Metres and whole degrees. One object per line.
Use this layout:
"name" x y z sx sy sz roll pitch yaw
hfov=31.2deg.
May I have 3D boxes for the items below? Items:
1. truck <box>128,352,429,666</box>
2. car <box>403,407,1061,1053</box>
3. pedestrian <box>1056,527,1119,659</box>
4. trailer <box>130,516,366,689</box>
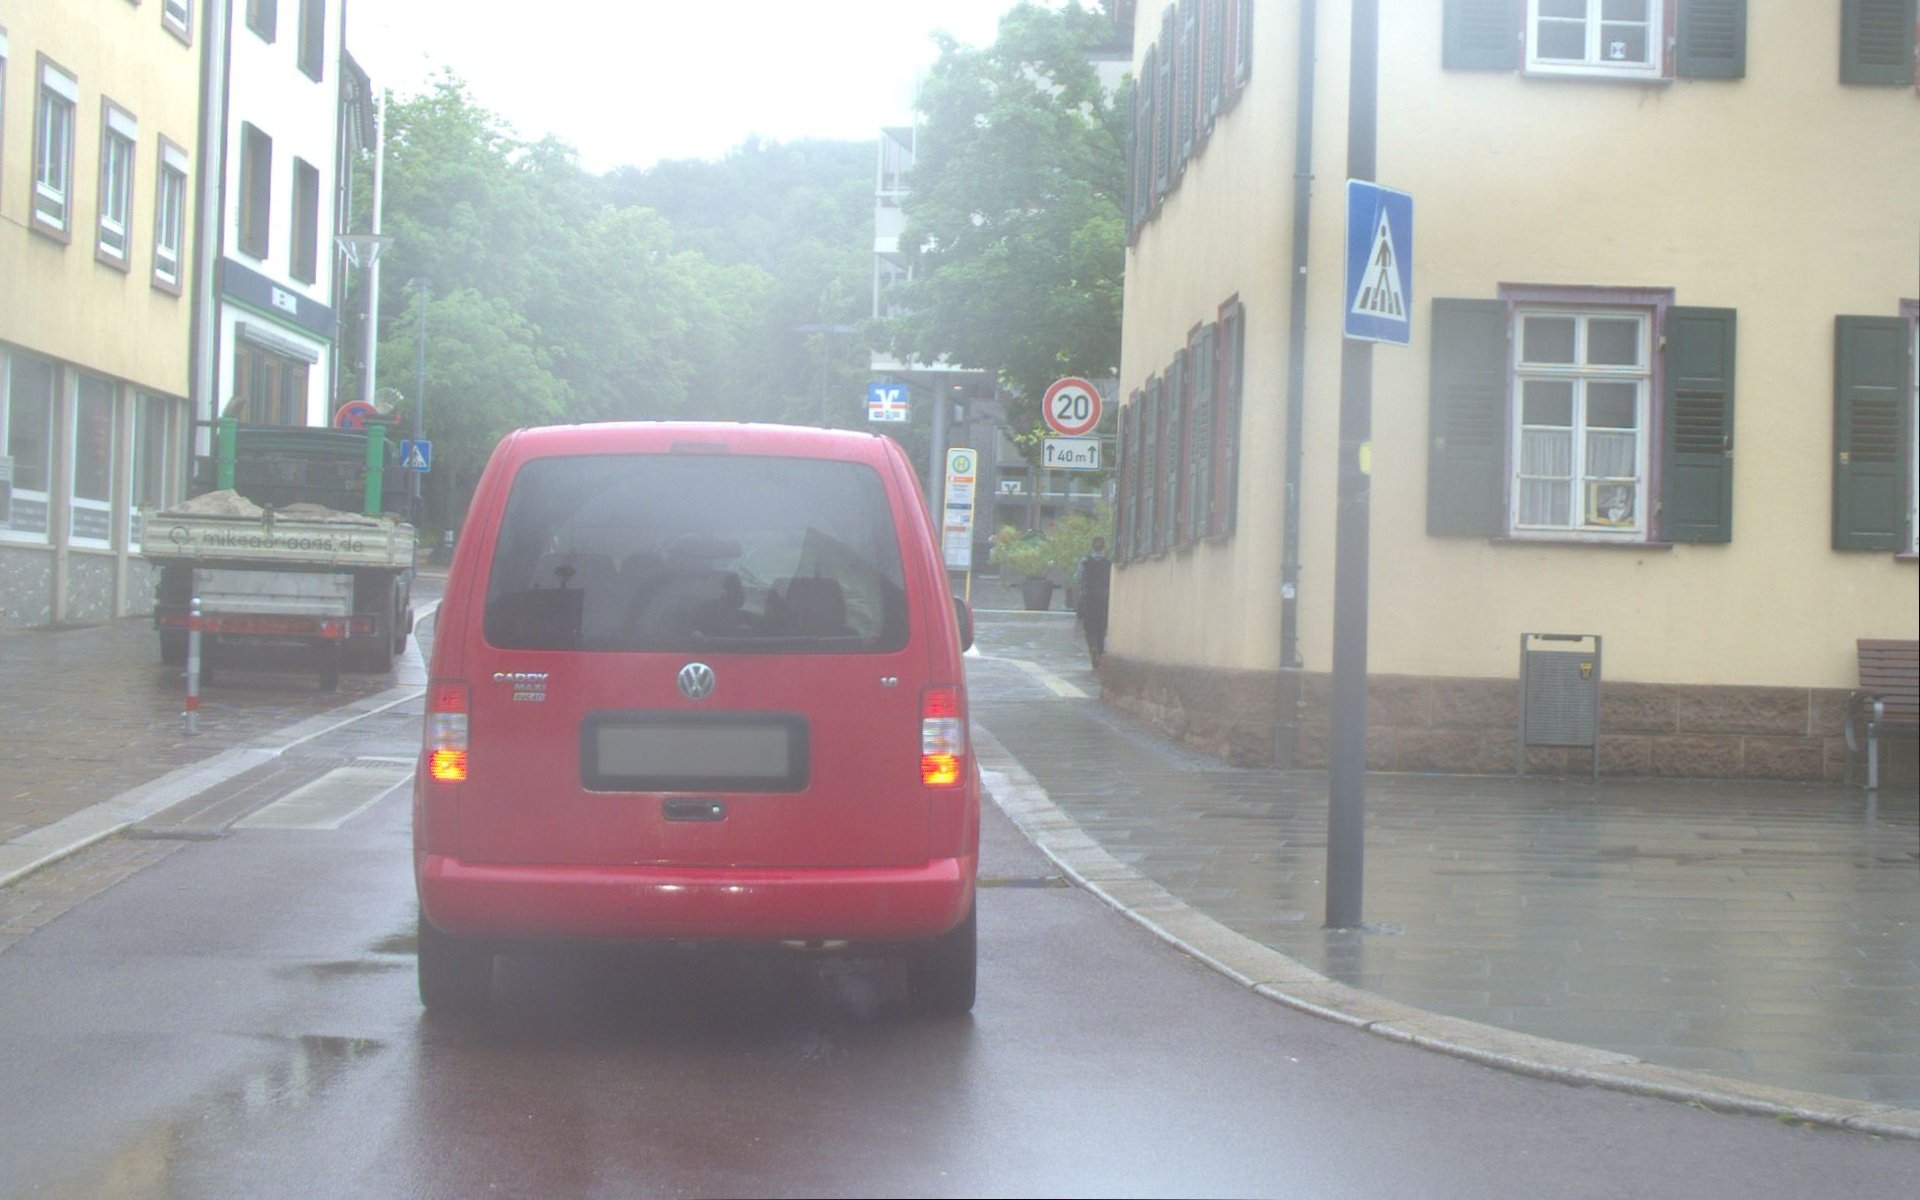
"truck" -6.614 -0.928 34.120 2.473 2.785 6.602 1 2 -7
"car" -0.865 0.338 11.874 1.862 1.824 4.186 0 1 -6
"pedestrian" 1.582 -0.090 42.760 0.728 1.611 0.694 1 0 0
"trailer" -6.012 -0.013 29.314 1.727 1.342 3.161 1 2 -7
